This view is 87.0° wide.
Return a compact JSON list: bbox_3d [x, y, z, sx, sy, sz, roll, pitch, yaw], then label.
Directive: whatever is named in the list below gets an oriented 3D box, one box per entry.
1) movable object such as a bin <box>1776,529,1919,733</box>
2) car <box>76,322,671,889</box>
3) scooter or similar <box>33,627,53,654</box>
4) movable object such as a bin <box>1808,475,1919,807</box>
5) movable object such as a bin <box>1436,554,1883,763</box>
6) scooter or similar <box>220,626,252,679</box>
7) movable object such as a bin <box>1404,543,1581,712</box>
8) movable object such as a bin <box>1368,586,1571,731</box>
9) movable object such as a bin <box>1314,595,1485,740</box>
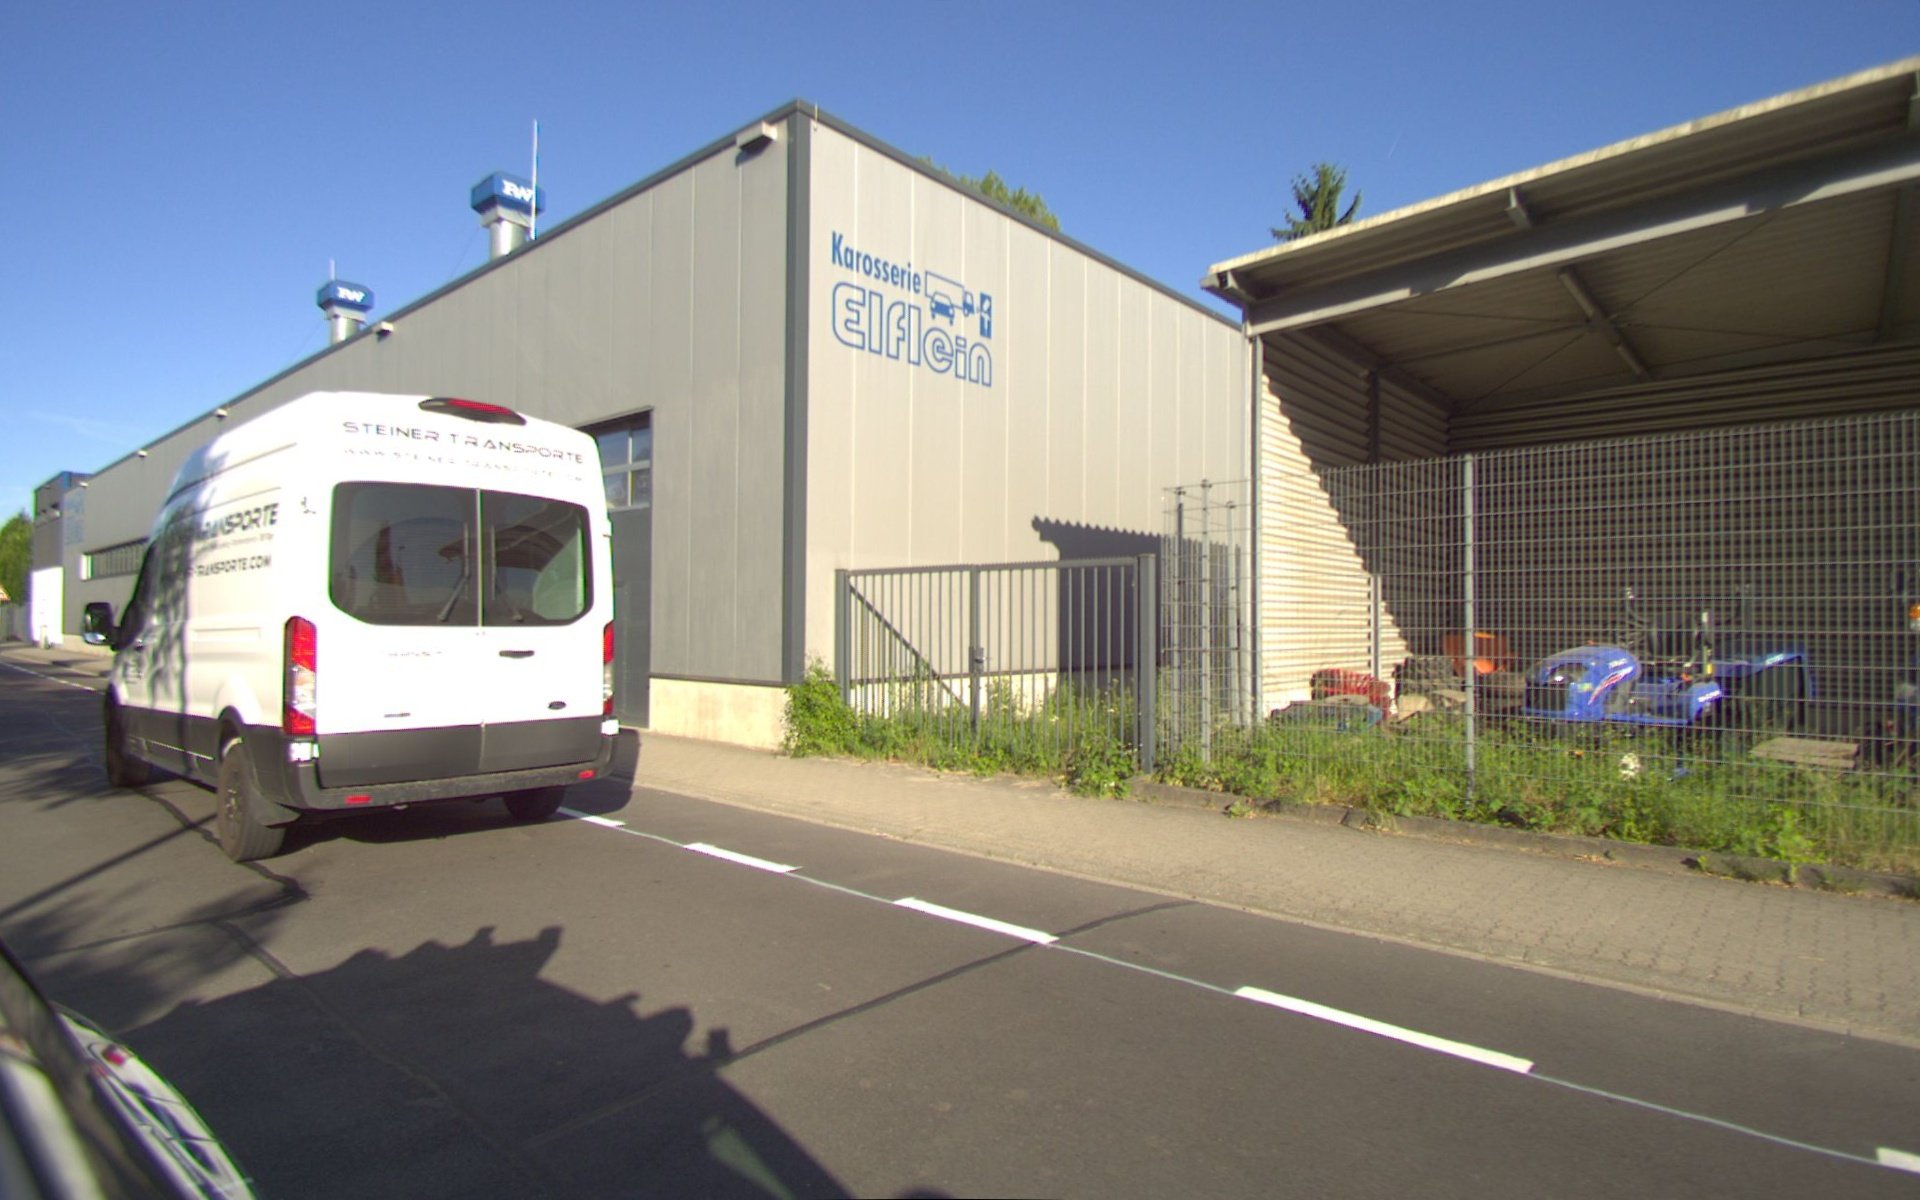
[{"bbox_3d":[10.454,0.326,11.077,2.309,2.108,1.560,-2,-2,39],"label":"movable object such as a bin"},{"bbox_3d":[-4.834,0.077,7.768,5.924,2.802,2.100,0,-3,42],"label":"car"},{"bbox_3d":[-43.664,1.898,48.179,1.753,1.212,0.501,0,2,42],"label":"scooter or similar"},{"bbox_3d":[7.643,0.261,6.964,2.725,2.181,1.528,0,-1,-19],"label":"movable object such as a bin"},{"bbox_3d":[6.289,0.470,9.180,3.346,1.625,1.631,0,-1,-19],"label":"movable object such as a bin"},{"bbox_3d":[-17.935,1.296,25.058,1.059,1.277,0.411,-1,-1,41],"label":"scooter or similar"},{"bbox_3d":[7.281,0.374,13.846,1.846,2.108,1.560,-2,-2,39],"label":"movable object such as a bin"},{"bbox_3d":[6.292,0.679,12.512,1.955,1.622,1.454,-2,-2,39],"label":"movable object such as a bin"},{"bbox_3d":[4.735,0.679,10.875,1.324,1.413,1.455,-2,-2,39],"label":"movable object such as a bin"}]
